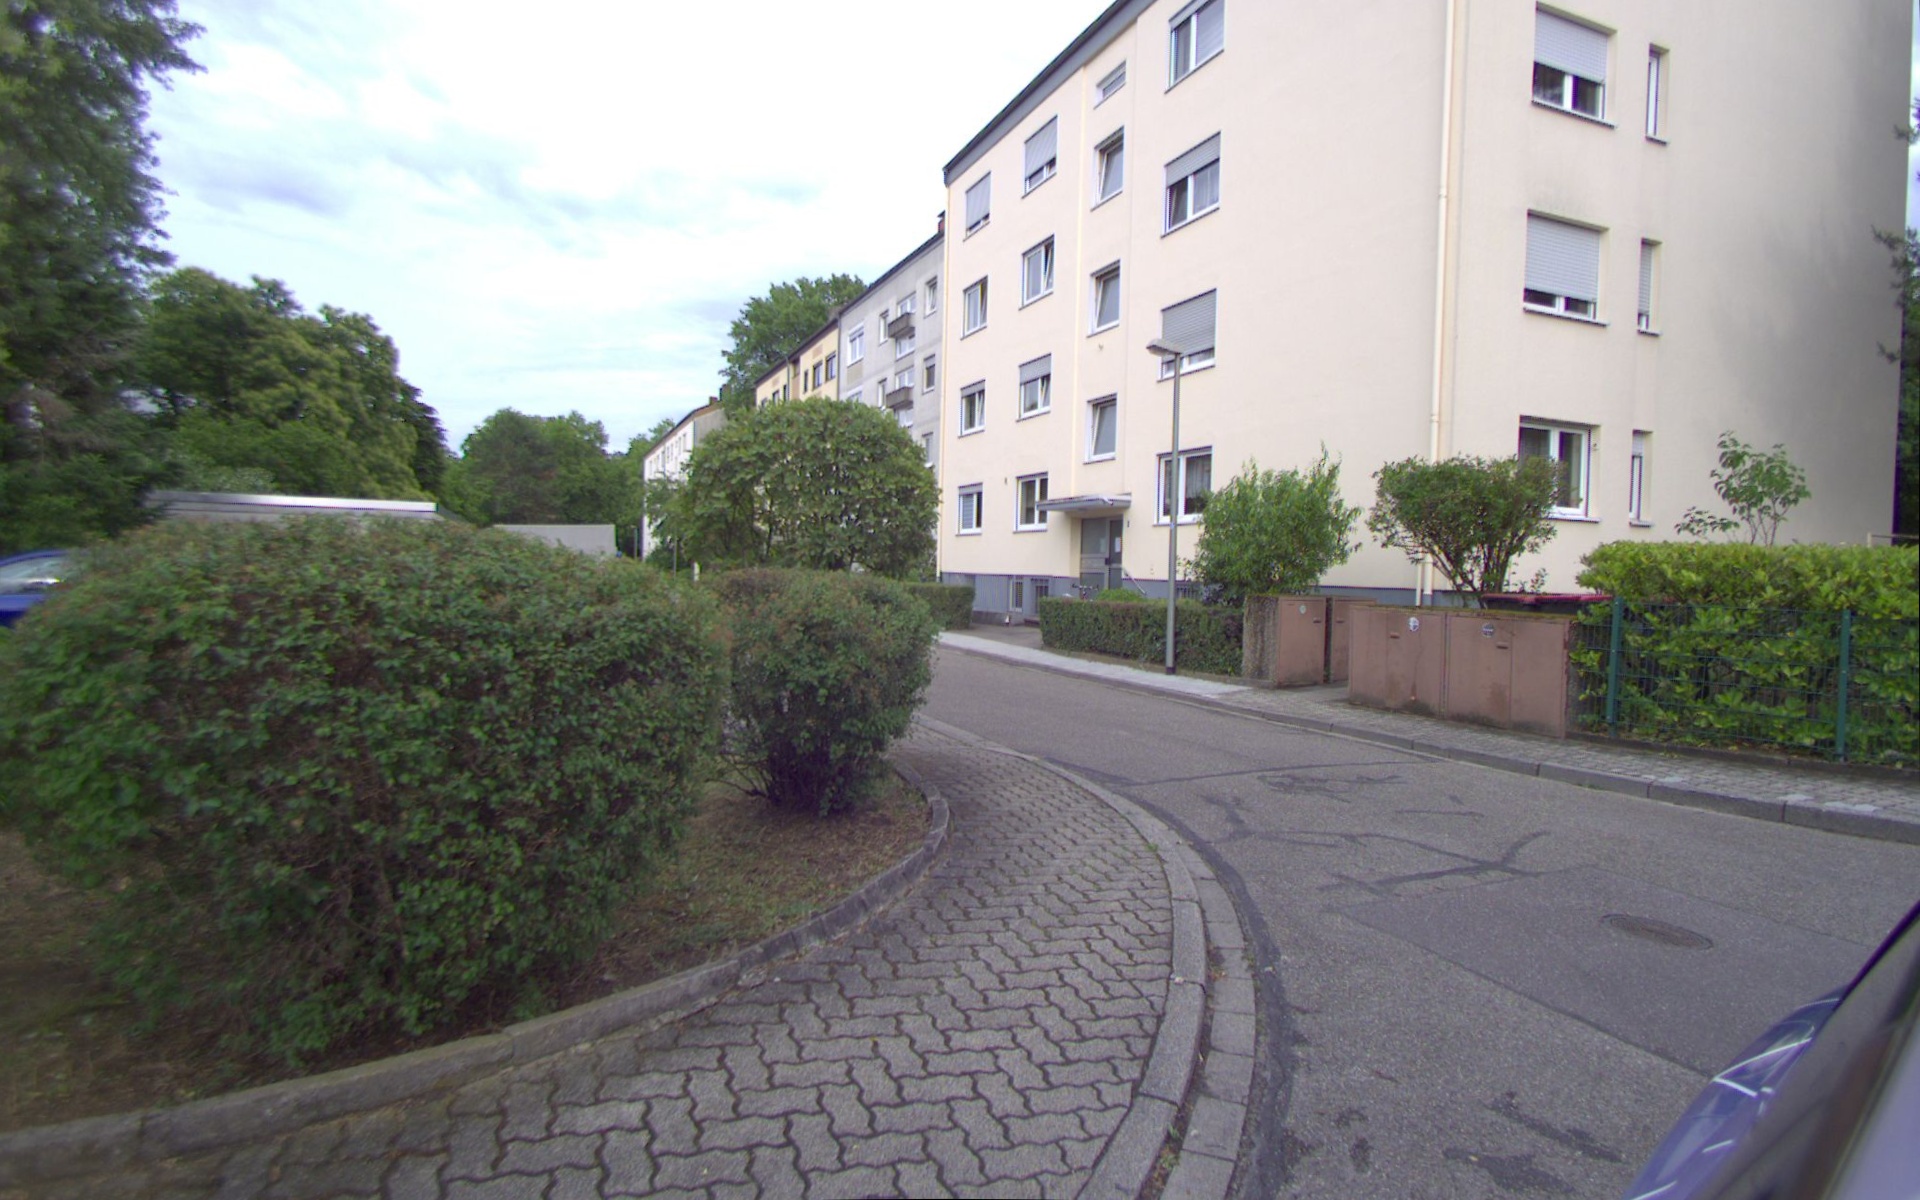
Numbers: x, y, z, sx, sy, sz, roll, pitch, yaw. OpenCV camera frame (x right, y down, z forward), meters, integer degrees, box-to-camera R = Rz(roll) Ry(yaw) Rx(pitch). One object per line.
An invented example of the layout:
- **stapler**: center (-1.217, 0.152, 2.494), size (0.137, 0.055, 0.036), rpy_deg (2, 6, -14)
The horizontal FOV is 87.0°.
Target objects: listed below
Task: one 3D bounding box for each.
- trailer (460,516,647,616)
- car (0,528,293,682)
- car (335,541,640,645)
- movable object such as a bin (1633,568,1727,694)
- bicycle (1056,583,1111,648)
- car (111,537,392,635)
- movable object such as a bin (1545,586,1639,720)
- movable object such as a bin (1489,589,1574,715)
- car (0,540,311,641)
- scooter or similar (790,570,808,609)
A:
- **trailer**: center (-10.918, -0.894, 27.492), size (4.527, 2.556, 1.947), rpy_deg (0, 1, -19)
- **car**: center (-9.769, 0.019, 11.058), size (3.828, 1.529, 2.032), rpy_deg (1, 1, -23)
- **car**: center (-7.890, -0.107, 17.318), size (4.456, 1.608, 1.992), rpy_deg (1, 1, -22)
- **movable object such as a bin**: center (6.983, 0.294, 9.828), size (0.496, 1.179, 0.516), rpy_deg (2, 1, -25)
- **bicycle**: center (2.205, 0.251, 18.228), size (0.312, 1.089, 1.421), rpy_deg (0, 2, -23)
- **car**: center (-12.385, -0.261, 18.031), size (3.920, 1.571, 2.003), rpy_deg (0, 2, -31)
- **movable object such as a bin**: center (5.936, 0.488, 9.516), size (0.496, 1.202, 0.516), rpy_deg (2, 1, -25)
- **movable object such as a bin**: center (5.692, 0.501, 10.093), size (0.496, 1.202, 0.516), rpy_deg (1, 1, -25)
- **car**: center (-12.367, -0.145, 15.455), size (3.828, 1.398, 1.976), rpy_deg (1, 1, -23)
- **scooter or similar**: center (-5.194, -0.350, 32.596), size (0.268, 1.226, 1.167), rpy_deg (1, 1, -24)
